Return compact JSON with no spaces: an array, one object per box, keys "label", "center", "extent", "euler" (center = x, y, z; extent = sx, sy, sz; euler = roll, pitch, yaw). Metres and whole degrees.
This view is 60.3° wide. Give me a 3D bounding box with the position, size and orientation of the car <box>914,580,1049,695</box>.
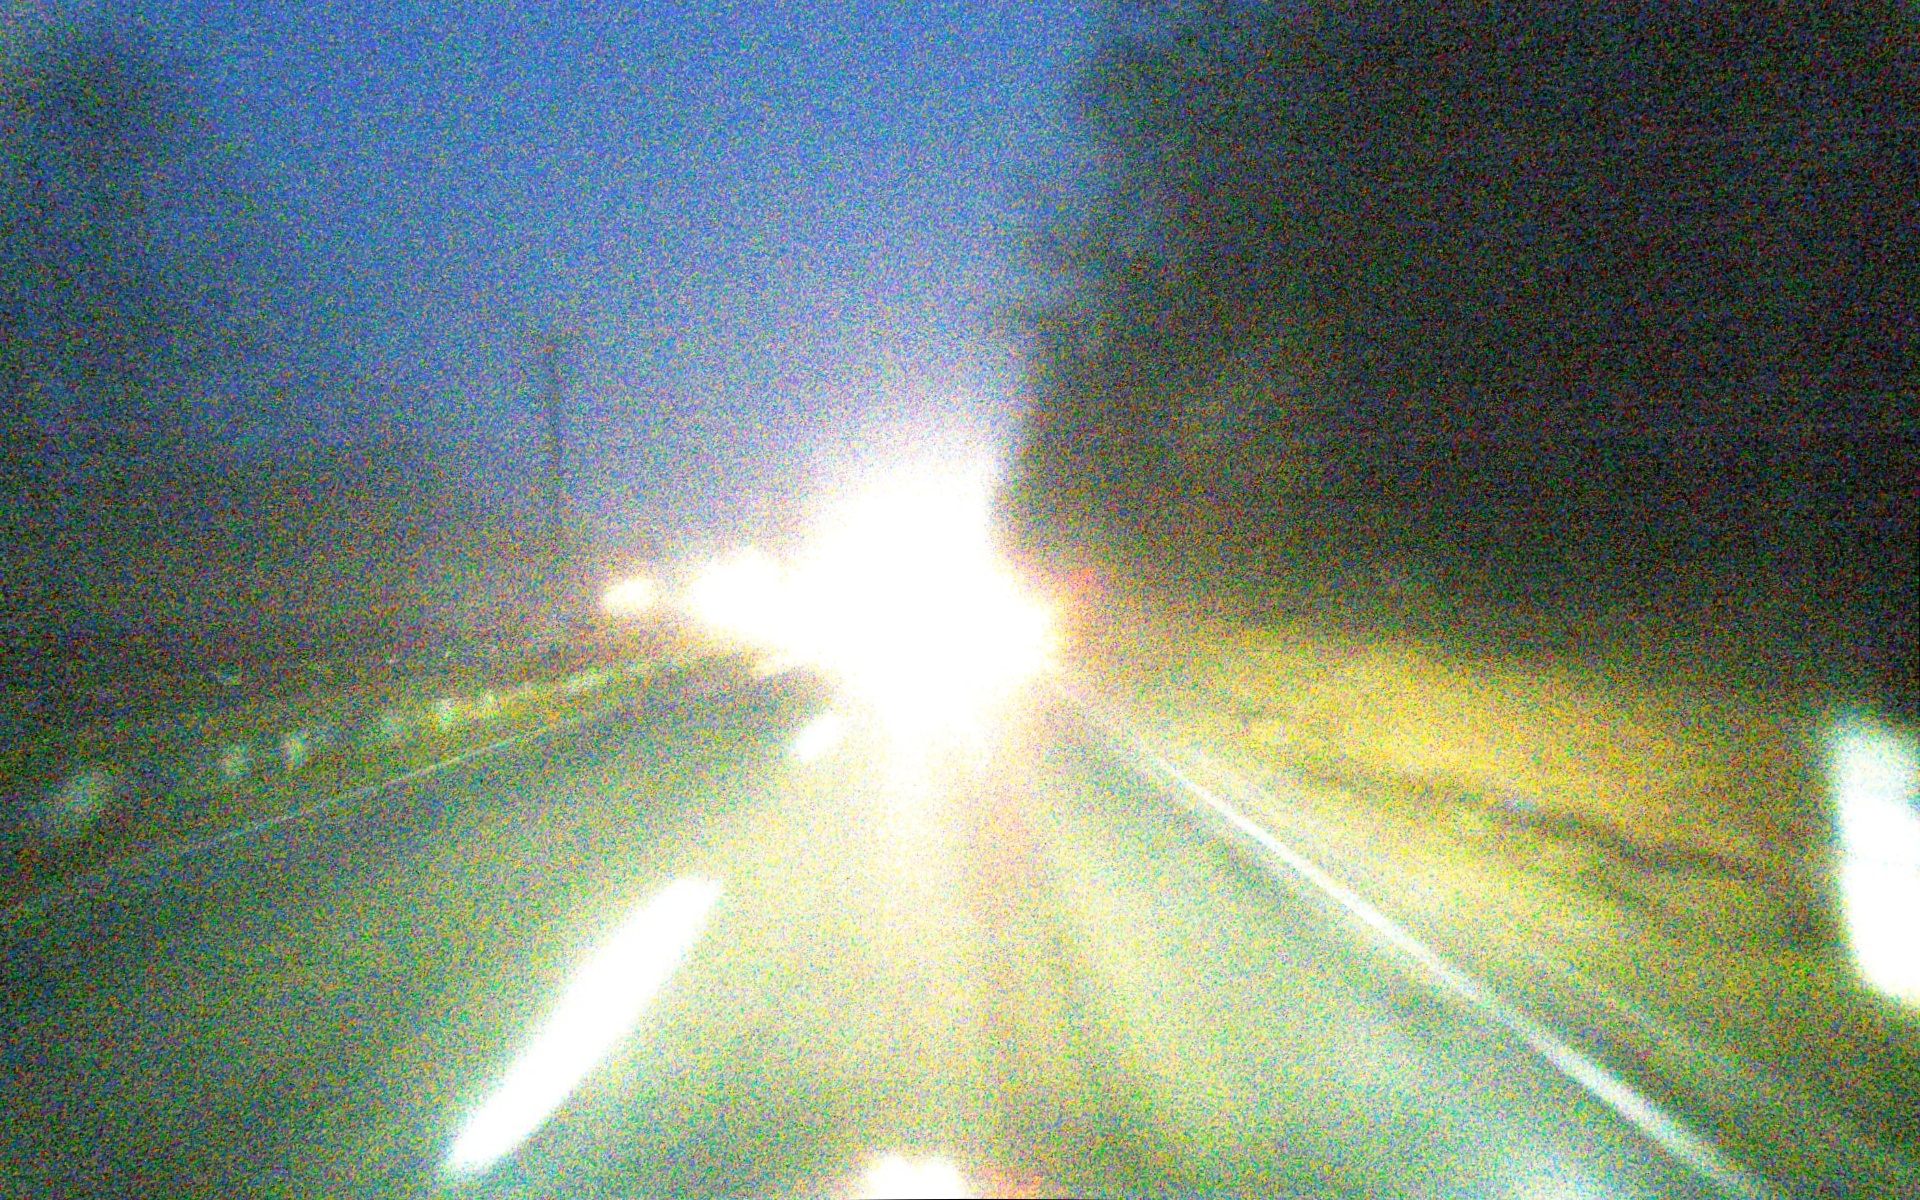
[{"label":"car","center":[0.414,0.772,32.921],"extent":[2.407,1.993,4.911],"euler":[-3,-2,0]}]
